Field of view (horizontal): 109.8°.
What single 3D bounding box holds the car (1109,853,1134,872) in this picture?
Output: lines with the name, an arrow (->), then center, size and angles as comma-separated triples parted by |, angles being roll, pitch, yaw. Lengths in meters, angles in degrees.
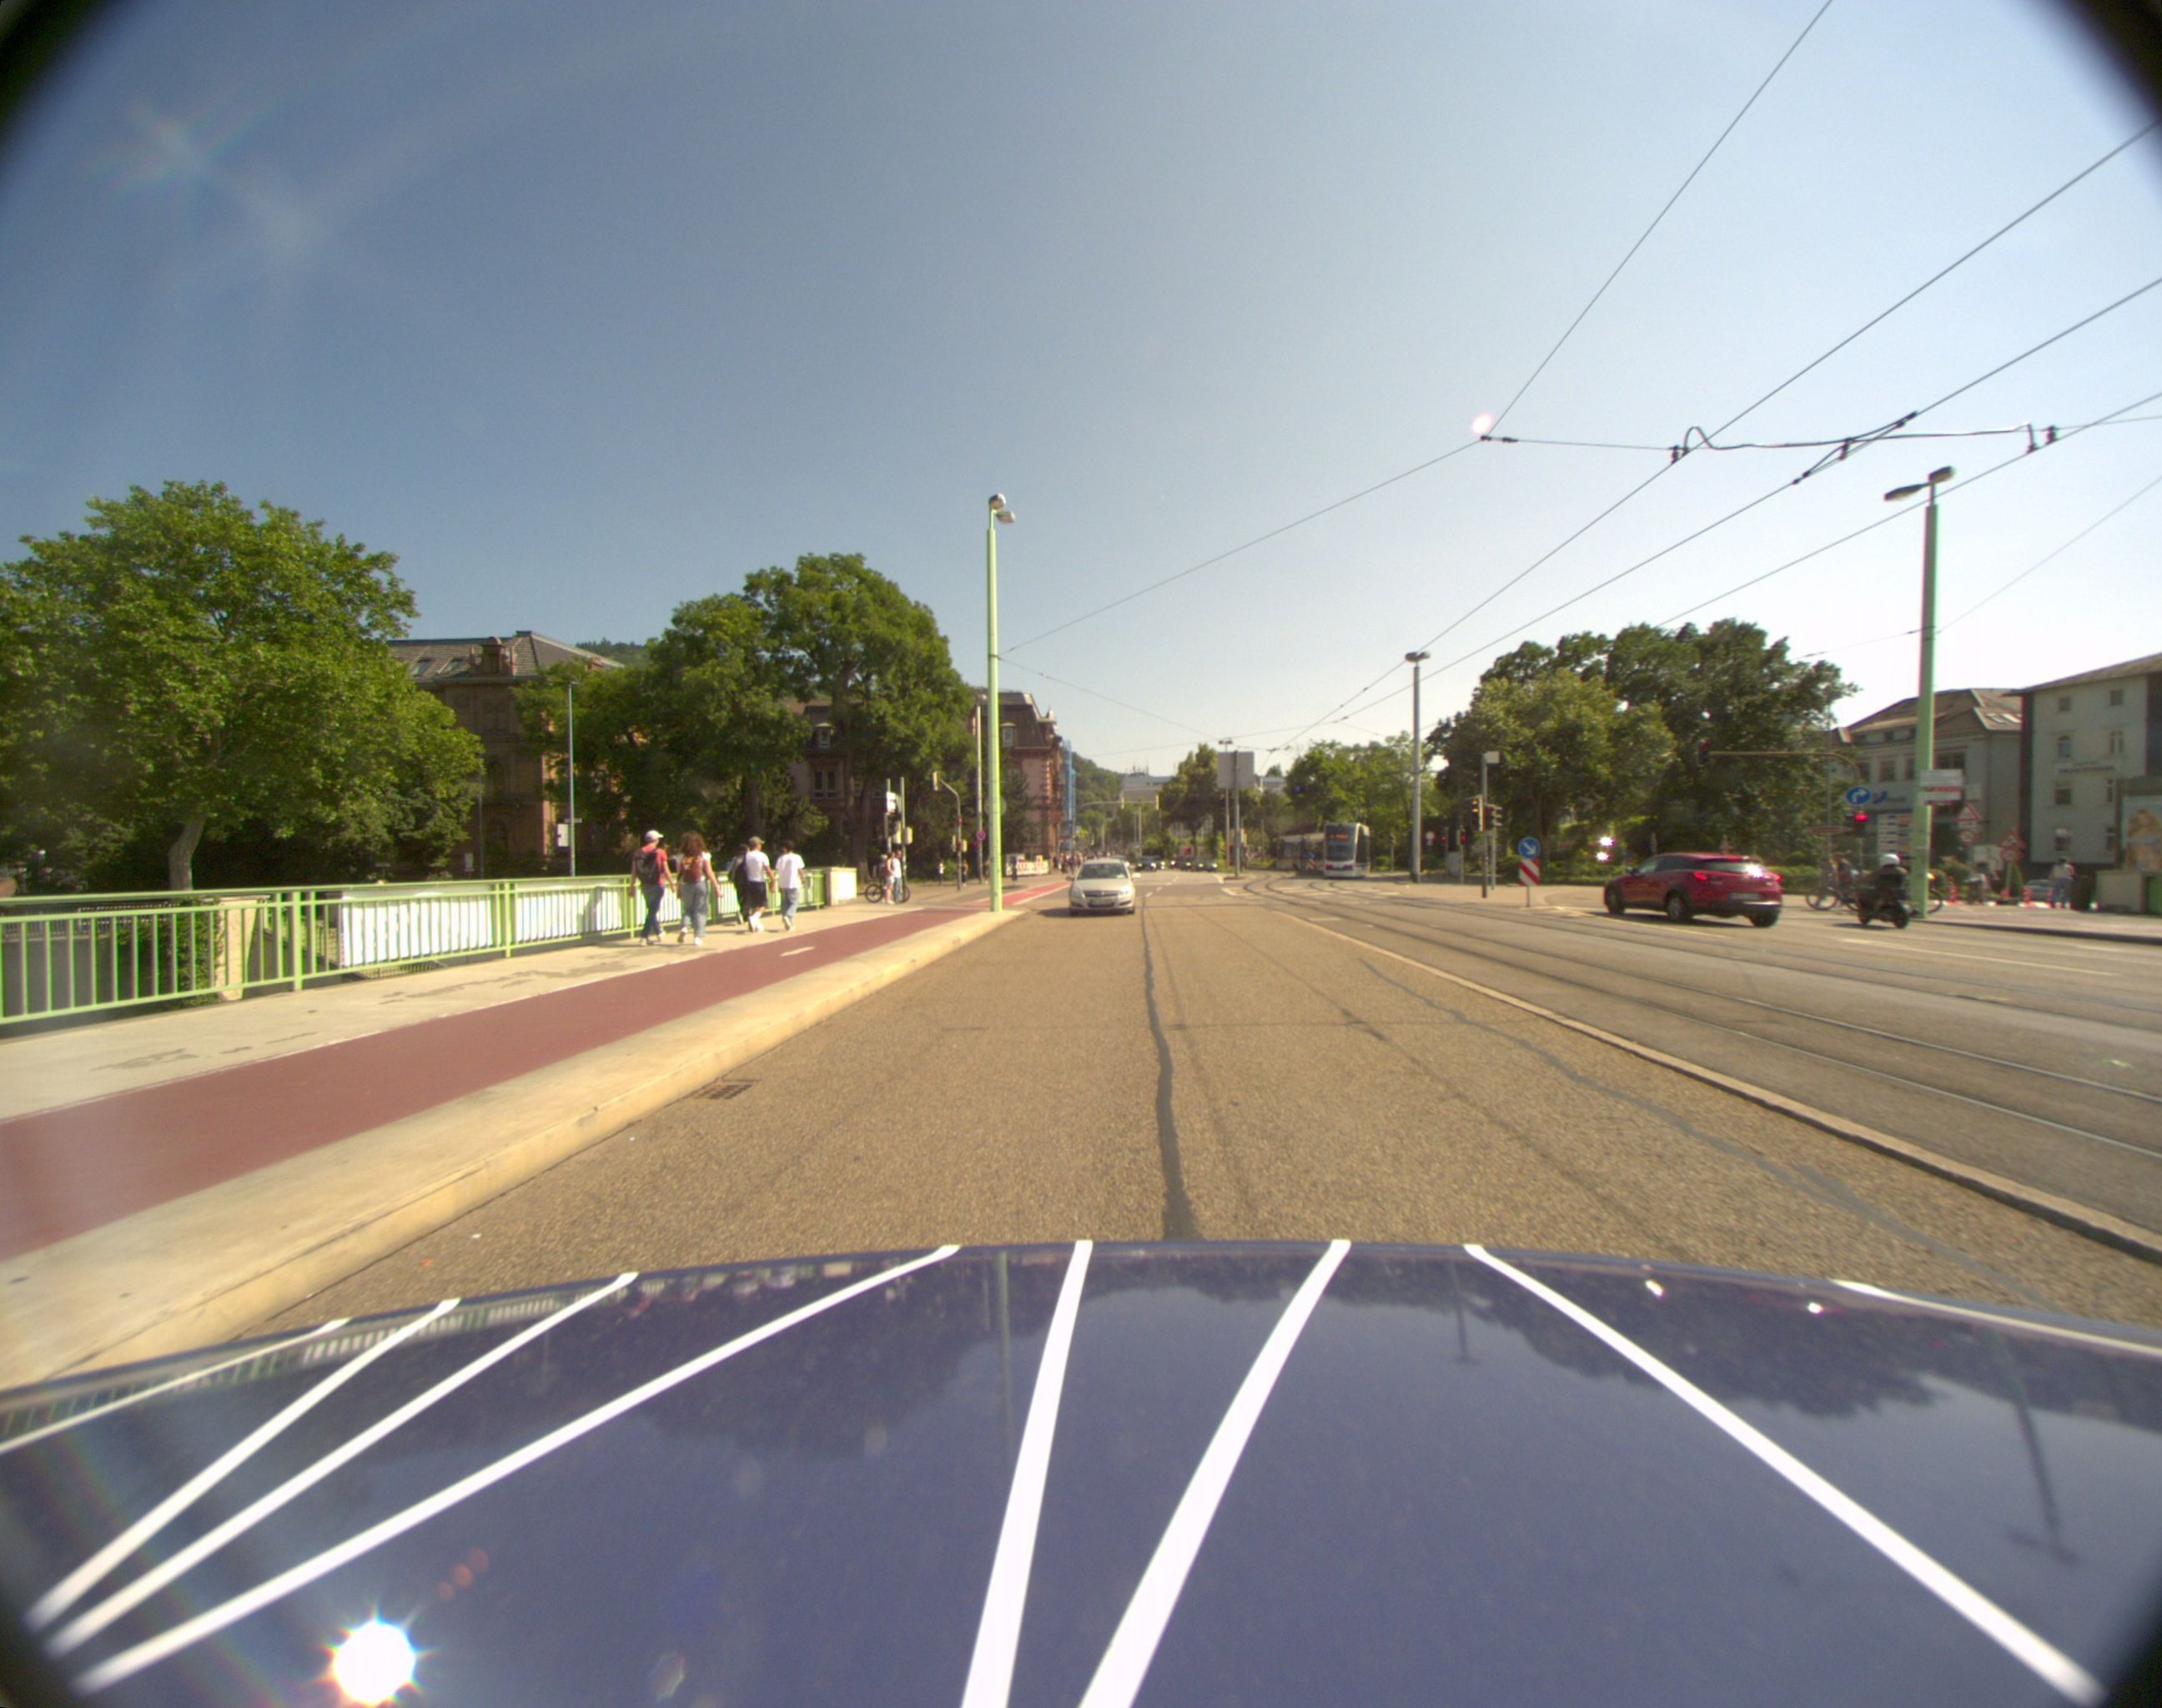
car -> 3.619, 0.760, 68.104 | 1.998, 1.564, 4.000 | -2, 0, 1

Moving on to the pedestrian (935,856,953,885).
pedestrian -> -8.881, 1.050, 49.286 | 1.060, 1.772, 0.700 | -2, 5, -12

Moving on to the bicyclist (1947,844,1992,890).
bicyclist -> 33.287, 0.471, 28.481 | 0.877, 1.665, 0.773 | 0, 2, 33

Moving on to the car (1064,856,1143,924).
car -> 0.599, 0.847, 19.935 | 1.802, 1.492, 4.497 | -2, 0, 2

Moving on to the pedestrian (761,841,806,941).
pedestrian -> -5.430, 0.656, 13.893 | 0.550, 1.789, 0.645 | -1, 1, -2

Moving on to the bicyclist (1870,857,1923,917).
bicyclist -> 22.508, 0.882, 20.995 | 0.770, 1.600, 0.881 | 0, 1, 31

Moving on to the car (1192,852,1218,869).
car -> 11.468, 0.567, 70.556 | 1.752, 1.477, 4.747 | 1, 0, 1

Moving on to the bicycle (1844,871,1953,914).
bicycle -> 22.520, 1.031, 20.987 | 1.915, 1.107, 0.763 | 0, 0, 31

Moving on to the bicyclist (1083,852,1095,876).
bicyclist -> 0.692, 0.849, 65.567 | 0.944, 2.002, 0.830 | 0, 1, -2

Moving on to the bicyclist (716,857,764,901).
bicyclist -> -11.615, 0.845, 25.897 | 1.081, 1.465, 0.929 | -2, 0, 12

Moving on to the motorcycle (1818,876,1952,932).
motorcycle -> 17.098, 1.037, 16.249 | 0.847, 1.019, 1.952 | -2, 1, 3

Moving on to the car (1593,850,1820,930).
car -> 13.581, 0.697, 16.900 | 1.997, 1.506, 4.191 | -1, 1, 8

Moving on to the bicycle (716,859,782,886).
bicycle -> -10.986, 0.622, 25.157 | 1.942, 0.822, 0.565 | -2, 0, 8

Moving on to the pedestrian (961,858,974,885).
pedestrian -> -7.380, 1.147, 49.522 | 0.675, 1.700, 0.893 | 0, 1, 0

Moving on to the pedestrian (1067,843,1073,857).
pedestrian -> -1.314, -0.512, 90.405 | 0.707, 1.685, 0.628 | 0, 2, 2

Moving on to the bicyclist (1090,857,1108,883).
bicyclist -> 1.005, 0.902, 43.073 | 0.912, 1.385, 1.233 | -2, 0, 4

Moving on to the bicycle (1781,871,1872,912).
bicycle -> 22.307, 1.108, 22.789 | 1.914, 1.107, 0.763 | 0, 2, 42

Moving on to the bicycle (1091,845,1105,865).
bicycle -> 0.971, 0.035, 42.973 | 0.643, 1.076, 2.497 | 0, 0, 4

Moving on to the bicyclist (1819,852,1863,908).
bicyclist -> 22.531, 0.742, 22.544 | 0.877, 1.600, 0.773 | 1, 2, 44

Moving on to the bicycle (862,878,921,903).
bicycle -> -6.806, 1.325, 27.314 | 1.942, 0.822, 0.565 | -2, 0, 8

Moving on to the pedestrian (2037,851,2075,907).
pedestrian -> 31.268, 0.785, 24.375 | 0.702, 1.782, 0.694 | -1, 1, -39

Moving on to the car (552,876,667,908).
car -> -23.502, 1.875, 38.045 | 4.485, 1.371, 1.846 | -2, 0, -6

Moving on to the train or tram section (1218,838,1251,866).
train or tram section -> 19.459, -0.287, 96.563 | 2.767, 3.384, 5.885 | 0, 0, -2

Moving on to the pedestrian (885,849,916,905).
pedestrian -> -6.031, 0.758, 25.430 | 0.775, 1.844, 0.645 | -1, 0, 7

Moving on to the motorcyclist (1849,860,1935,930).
motorcyclist -> 17.087, 0.847, 16.032 | 0.847, 1.394, 0.898 | -2, 1, 2

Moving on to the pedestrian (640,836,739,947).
pedestrian -> -5.891, 0.536, 11.500 | 0.987, 1.606, 0.921 | -1, 1, -2

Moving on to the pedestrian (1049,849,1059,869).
pedestrian -> -2.409, 0.424, 66.921 | 0.814, 1.783, 0.815 | 2, 1, -3

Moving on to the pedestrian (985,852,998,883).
pedestrian -> -5.964, 0.895, 50.590 | 0.777, 2.002, 1.059 | 0, 1, -1

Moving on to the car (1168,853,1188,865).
car -> 11.299, 0.542, 88.566 | 1.637, 1.301, 3.913 | 0, 0, -2

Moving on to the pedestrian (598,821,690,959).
pedestrian -> -6.605, 0.516, 11.535 | 0.805, 2.002, 0.954 | -1, 1, -2

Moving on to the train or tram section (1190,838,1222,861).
train or tram section -> 19.281, -0.760, 118.346 | 2.767, 3.383, 12.409 | 0, 0, -1

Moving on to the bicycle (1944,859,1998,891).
bicycle -> 33.313, 0.766, 28.483 | 0.759, 1.107, 1.924 | 0, 1, 32

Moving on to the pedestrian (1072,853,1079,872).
pedestrian -> -0.506, 0.820, 73.861 | 0.636, 1.880, 0.903 | -1, 0, -2

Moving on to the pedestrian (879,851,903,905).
pedestrian -> -6.238, 0.791, 24.959 | 0.535, 1.750, 0.577 | -1, 0, 7

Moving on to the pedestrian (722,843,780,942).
pedestrian -> -5.858, 0.662, 13.518 | 0.697, 1.707, 0.731 | -1, 1, -2

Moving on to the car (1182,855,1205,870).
car -> 11.297, 0.869, 76.462 | 1.797, 1.403, 4.000 | 0, 0, 1

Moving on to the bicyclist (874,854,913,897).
bicyclist -> -6.745, 0.768, 27.323 | 1.082, 1.465, 0.801 | -2, 0, 8

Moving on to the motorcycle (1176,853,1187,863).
motorcycle -> 11.072, 0.437, 83.673 | 0.903, 1.156, 2.352 | 0, 0, -2

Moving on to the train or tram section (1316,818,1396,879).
train or tram section -> 19.124, -0.336, 52.203 | 2.471, 3.755, 11.874 | 0, 0, 34

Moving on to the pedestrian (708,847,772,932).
pedestrian -> -6.730, 0.678, 15.025 | 0.801, 1.625, 0.949 | 0, 1, 1

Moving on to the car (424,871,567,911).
car -> -24.848, 1.546, 32.397 | 4.486, 1.439, 1.846 | -2, 0, -8

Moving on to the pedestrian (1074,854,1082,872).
pedestrian -> -0.306, 0.864, 72.965 | 0.707, 1.759, 0.903 | -2, 1, -2

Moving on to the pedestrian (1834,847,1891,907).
pedestrian -> 24.301, 0.699, 23.639 | 0.942, 1.791, 1.155 | -2, 1, -39

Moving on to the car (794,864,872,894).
car -> -14.197, 1.422, 43.698 | 3.994, 1.507, 1.934 | -2, 0, -12

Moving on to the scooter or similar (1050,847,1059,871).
scooter or similar -> -2.302, 0.420, 66.009 | 0.694, 2.002, 1.095 | 0, 1, -2

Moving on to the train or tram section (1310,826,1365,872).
train or tram section -> 23.228, -0.598, 69.342 | 2.542, 3.757, 9.167 | 0, 3, 5

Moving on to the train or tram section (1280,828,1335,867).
train or tram section -> 23.446, -0.645, 79.236 | 2.544, 3.755, 9.166 | 1, 0, -2

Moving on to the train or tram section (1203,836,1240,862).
train or tram section -> 19.407, -0.725, 105.878 | 2.767, 3.383, 12.410 | 0, 0, 0

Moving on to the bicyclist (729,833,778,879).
bicyclist -> -10.843, 0.060, 25.178 | 1.082, 1.465, 0.928 | -2, 0, 10

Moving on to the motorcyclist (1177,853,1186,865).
motorcyclist -> 11.084, 0.557, 83.845 | 0.903, 1.350, 0.993 | 0, 1, -2

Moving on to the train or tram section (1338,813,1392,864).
train or tram section -> 22.340, -1.112, 60.296 | 2.408, 3.659, 9.627 | 0, 0, 11

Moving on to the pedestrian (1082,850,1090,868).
pedestrian -> 0.481, 0.485, 73.336 | 0.707, 1.743, 0.902 | 0, 2, -2

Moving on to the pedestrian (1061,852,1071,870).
pedestrian -> -1.326, 0.635, 68.614 | 0.814, 1.593, 0.815 | 2, 1, -2

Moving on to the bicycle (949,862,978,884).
bicycle -> -7.705, 1.258, 49.935 | 0.801, 1.199, 2.276 | 2, 5, 21
